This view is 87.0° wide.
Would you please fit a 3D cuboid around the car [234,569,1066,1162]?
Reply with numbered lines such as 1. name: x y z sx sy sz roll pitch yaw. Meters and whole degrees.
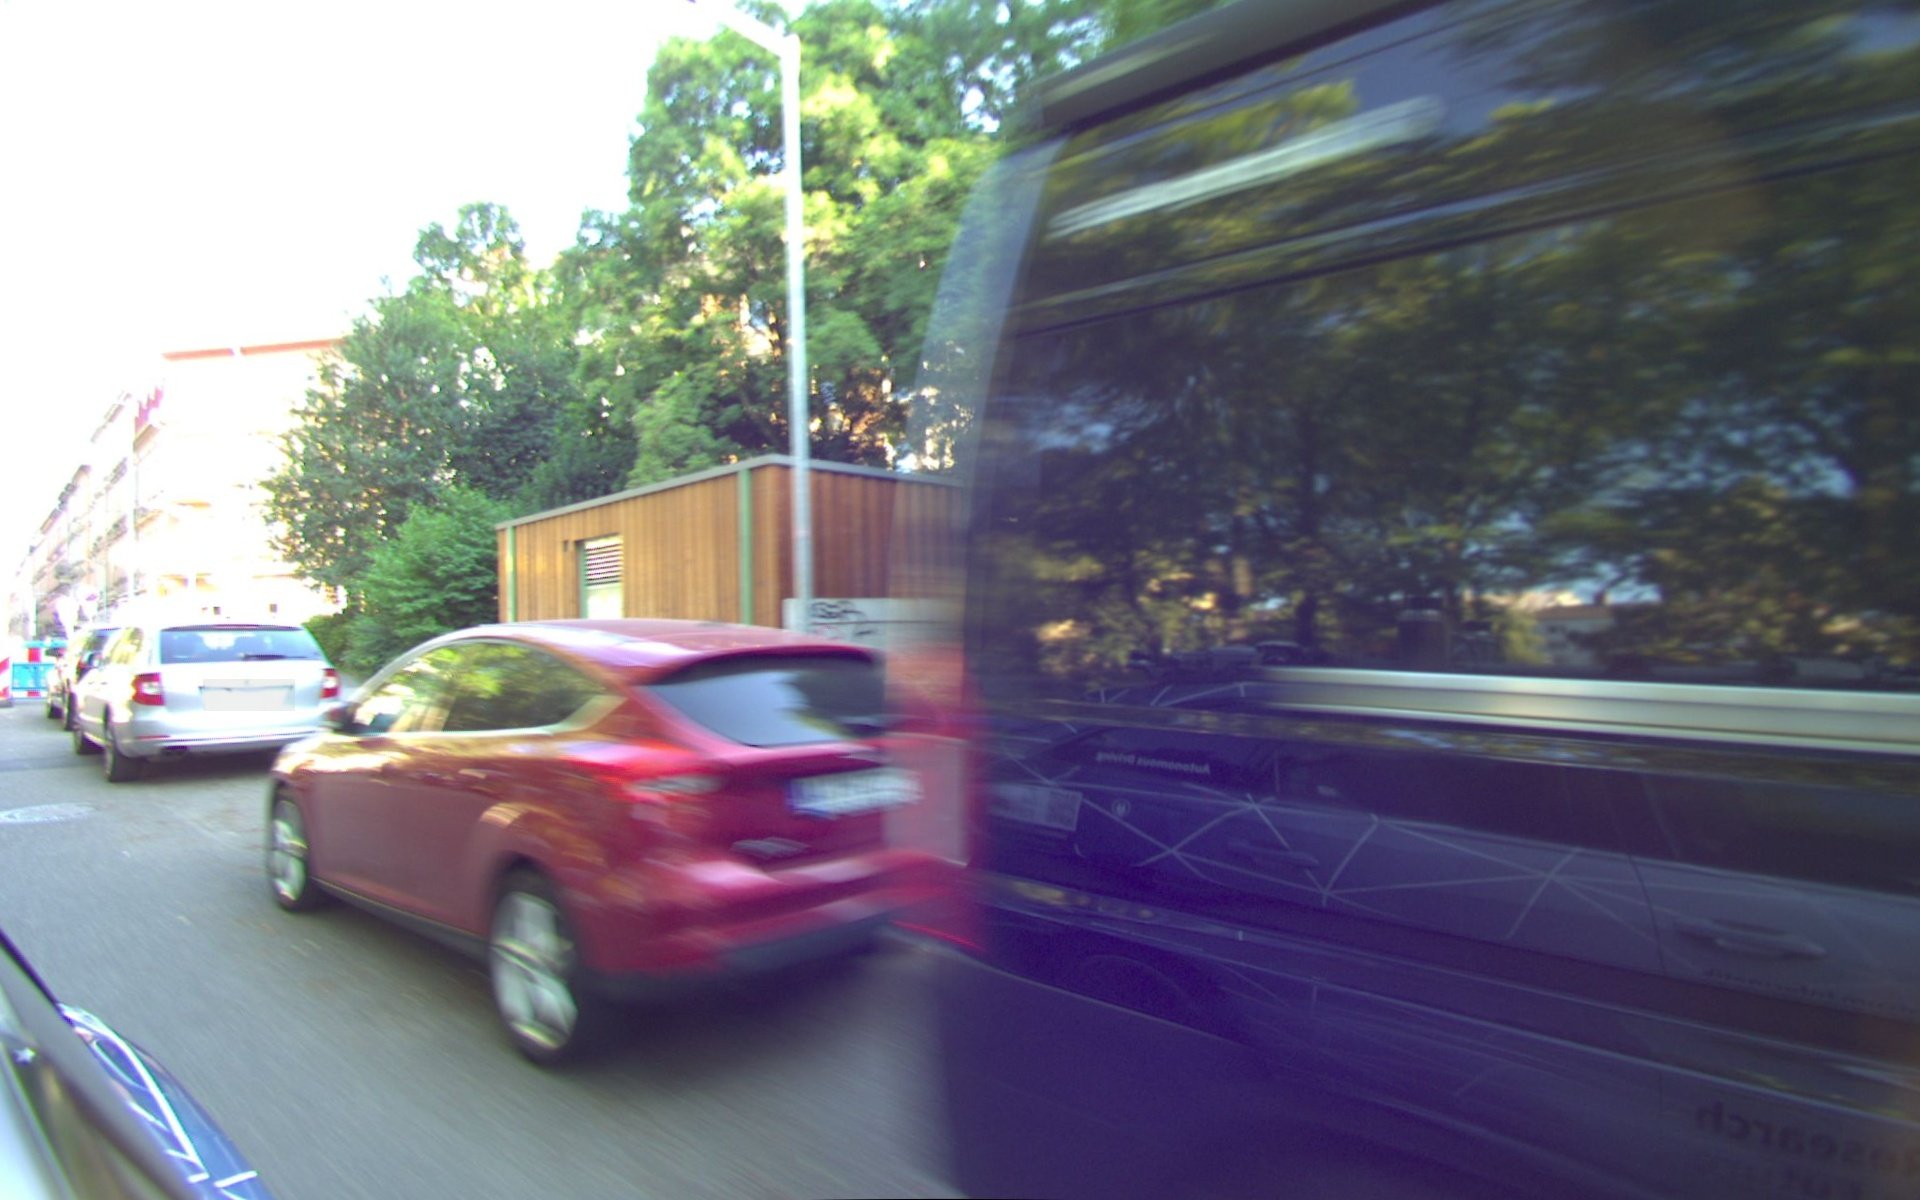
1. car: -1.726 0.743 4.651 4.227 1.519 1.681 -1 -3 41

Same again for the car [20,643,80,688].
1. car: -40.021 2.841 44.457 4.196 1.854 1.680 -2 -3 45

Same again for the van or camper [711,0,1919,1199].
1. van or camper: 2.691 0.097 0.775 6.416 2.542 2.213 -2 0 40

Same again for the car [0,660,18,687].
1. car: -68.373 5.229 72.096 4.196 1.764 1.680 -2 -3 45

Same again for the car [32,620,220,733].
1. car: -12.260 1.032 14.778 4.196 1.410 1.680 -2 -3 45

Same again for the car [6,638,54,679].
1. car: -50.671 3.141 55.144 4.196 2.132 1.680 -2 -3 45

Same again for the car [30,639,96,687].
1. car: -36.524 2.524 41.175 4.196 1.818 1.680 -2 -3 45

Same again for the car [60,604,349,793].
1. car: -7.839 0.858 10.317 4.552 1.509 1.680 -2 -3 45
